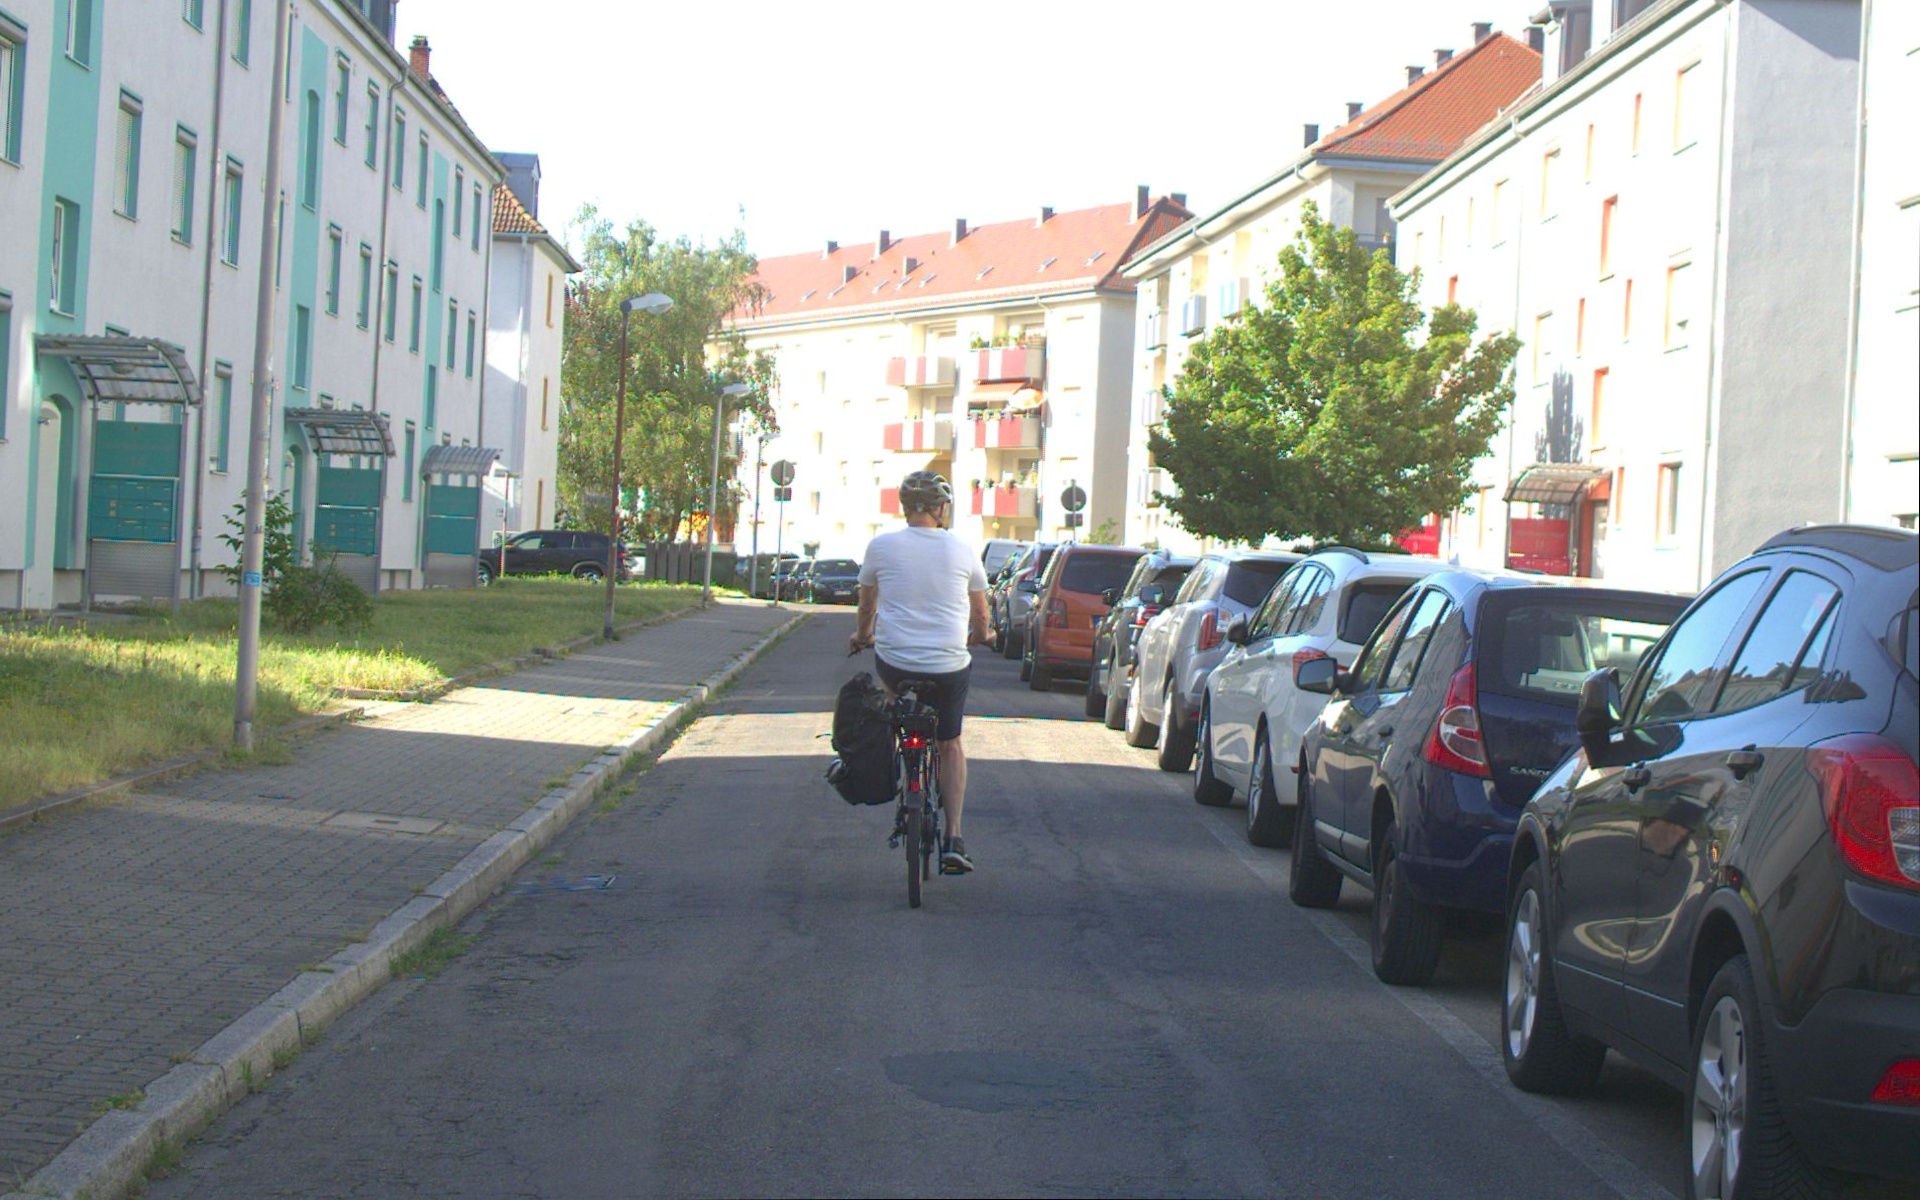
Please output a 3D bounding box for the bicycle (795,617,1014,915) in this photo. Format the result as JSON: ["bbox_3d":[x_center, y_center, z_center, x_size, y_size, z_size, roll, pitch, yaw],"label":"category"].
[{"bbox_3d":[-0.272,0.667,14.730,0.808,1.124,2.102,2,1,-4],"label":"bicycle"}]

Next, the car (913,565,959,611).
[{"bbox_3d":[-0.849,-0.430,121.889,1.381,1.492,3.077,4,1,-3],"label":"car"}]

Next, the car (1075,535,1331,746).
[{"bbox_3d":[2.084,0.300,30.598,1.712,1.590,4.398,5,1,-2],"label":"car"}]

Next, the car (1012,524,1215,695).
[{"bbox_3d":[1.651,0.081,38.373,1.862,1.662,4.127,5,1,-1],"label":"car"}]

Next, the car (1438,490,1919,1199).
[{"bbox_3d":[2.486,0.639,8.757,1.783,1.642,4.469,4,1,0],"label":"car"}]

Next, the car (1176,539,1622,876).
[{"bbox_3d":[2.345,0.502,19.460,1.690,1.569,4.435,4,1,-2],"label":"car"}]

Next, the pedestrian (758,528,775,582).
[{"bbox_3d":[-5.718,-1.335,101.595,0.434,1.569,0.543,2,1,-1],"label":"pedestrian"}]

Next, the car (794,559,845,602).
[{"bbox_3d":[-4.496,-0.640,109.814,1.469,1.331,3.141,-1,1,-5],"label":"car"}]

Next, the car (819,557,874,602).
[{"bbox_3d":[-3.483,-0.638,105.475,1.469,1.331,3.141,-1,1,-6],"label":"car"}]

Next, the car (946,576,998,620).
[{"bbox_3d":[0.400,-0.082,115.075,1.469,1.331,3.141,4,1,-3],"label":"car"}]

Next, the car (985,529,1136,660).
[{"bbox_3d":[1.389,-0.116,49.255,1.700,1.665,4.380,4,1,-3],"label":"car"}]

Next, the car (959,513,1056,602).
[{"bbox_3d":[0.967,-0.908,72.455,1.674,1.733,3.943,4,1,-3],"label":"car"}]

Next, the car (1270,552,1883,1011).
[{"bbox_3d":[2.299,0.592,13.852,1.641,1.493,4.157,3,1,0],"label":"car"}]

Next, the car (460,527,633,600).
[{"bbox_3d":[-10.390,-0.922,86.603,4.230,1.633,1.583,2,1,-5],"label":"car"}]

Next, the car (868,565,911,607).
[{"bbox_3d":[-2.765,-0.562,134.602,1.469,1.511,3.077,4,1,-3],"label":"car"}]

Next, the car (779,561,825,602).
[{"bbox_3d":[-5.370,-0.632,116.472,1.469,1.331,3.141,-1,1,-4],"label":"car"}]

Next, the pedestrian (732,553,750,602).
[{"bbox_3d":[-6.476,-0.662,101.655,0.434,1.422,0.543,2,1,-2],"label":"pedestrian"}]

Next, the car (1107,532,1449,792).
[{"bbox_3d":[2.250,0.380,25.511,1.750,1.612,4.453,5,1,-3],"label":"car"}]

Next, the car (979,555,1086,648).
[{"bbox_3d":[1.199,0.003,58.212,1.559,1.406,3.934,4,1,-1],"label":"car"}]

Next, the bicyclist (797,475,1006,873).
[{"bbox_3d":[-0.265,0.303,14.805,0.808,1.638,0.899,2,1,-3],"label":"bicyclist"}]
